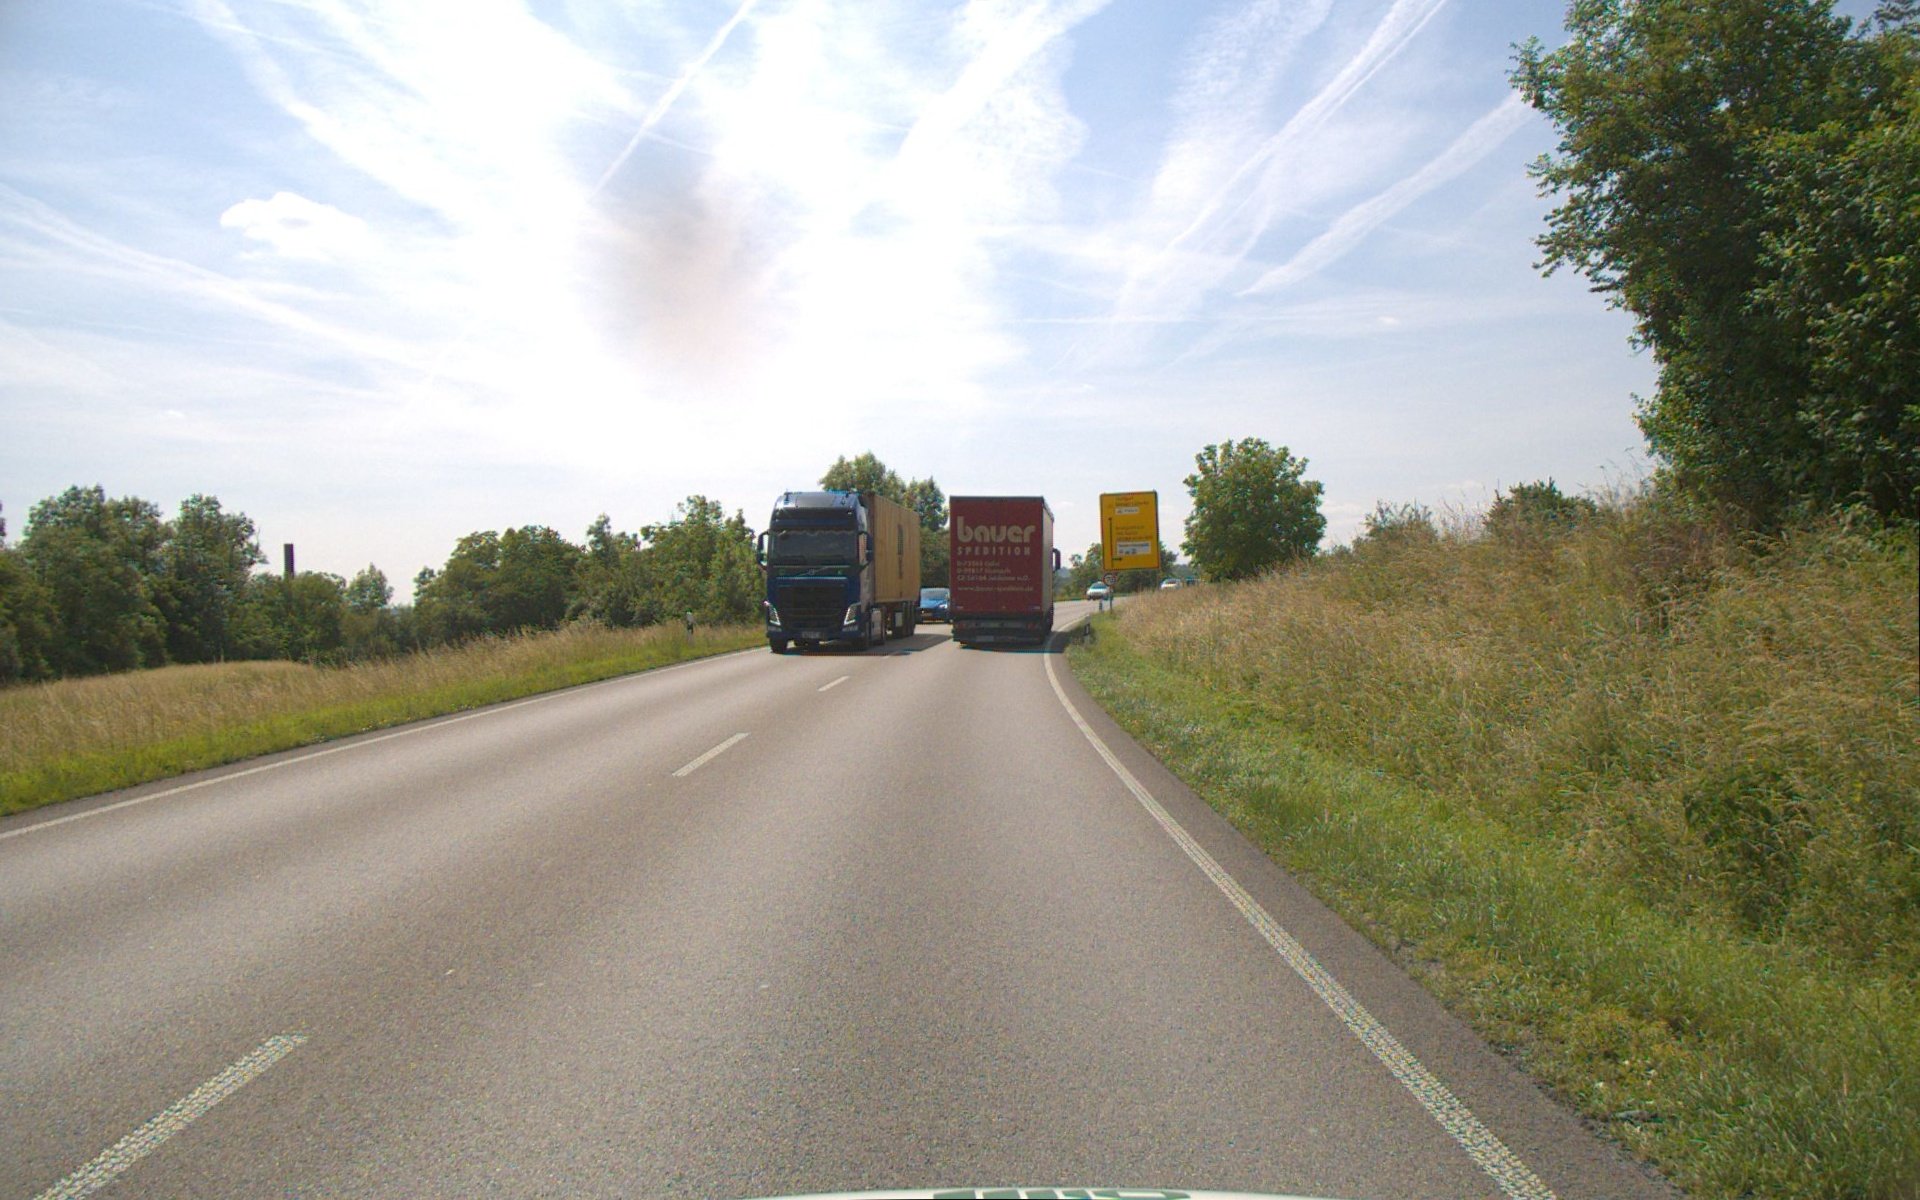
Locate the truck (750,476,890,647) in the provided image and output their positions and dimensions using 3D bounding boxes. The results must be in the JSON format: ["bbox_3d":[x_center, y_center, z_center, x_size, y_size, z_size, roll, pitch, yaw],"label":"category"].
[{"bbox_3d":[-3.525,-0.957,43.170,2.748,4.138,5.988,-1,0,4],"label":"truck"}]

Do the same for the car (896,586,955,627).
[{"bbox_3d":[-1.441,0.246,70.401,1.824,1.511,4.362,-5,0,6],"label":"car"}]

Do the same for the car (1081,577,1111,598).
[{"bbox_3d":[11.506,-1.097,139.722,1.752,1.548,4.164,-4,0,13],"label":"car"}]

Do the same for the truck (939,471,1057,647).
[{"bbox_3d":[1.266,-1.144,49.460,3.047,4.584,12.172,0,1,2],"label":"truck"}]

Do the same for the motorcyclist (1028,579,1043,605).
[{"bbox_3d":[5.271,-0.565,115.628,0.899,1.748,0.963,-1,0,8],"label":"motorcyclist"}]

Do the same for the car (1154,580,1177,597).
[{"bbox_3d":[21.882,-1.272,175.878,1.794,1.645,4.366,-3,0,15],"label":"car"}]

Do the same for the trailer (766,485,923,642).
[{"bbox_3d":[-3.186,-1.043,49.949,2.934,4.114,12.924,0,1,4],"label":"trailer"}]

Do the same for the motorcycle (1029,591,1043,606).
[{"bbox_3d":[5.307,-0.109,115.857,0.741,1.011,2.282,4,2,8],"label":"motorcycle"}]
